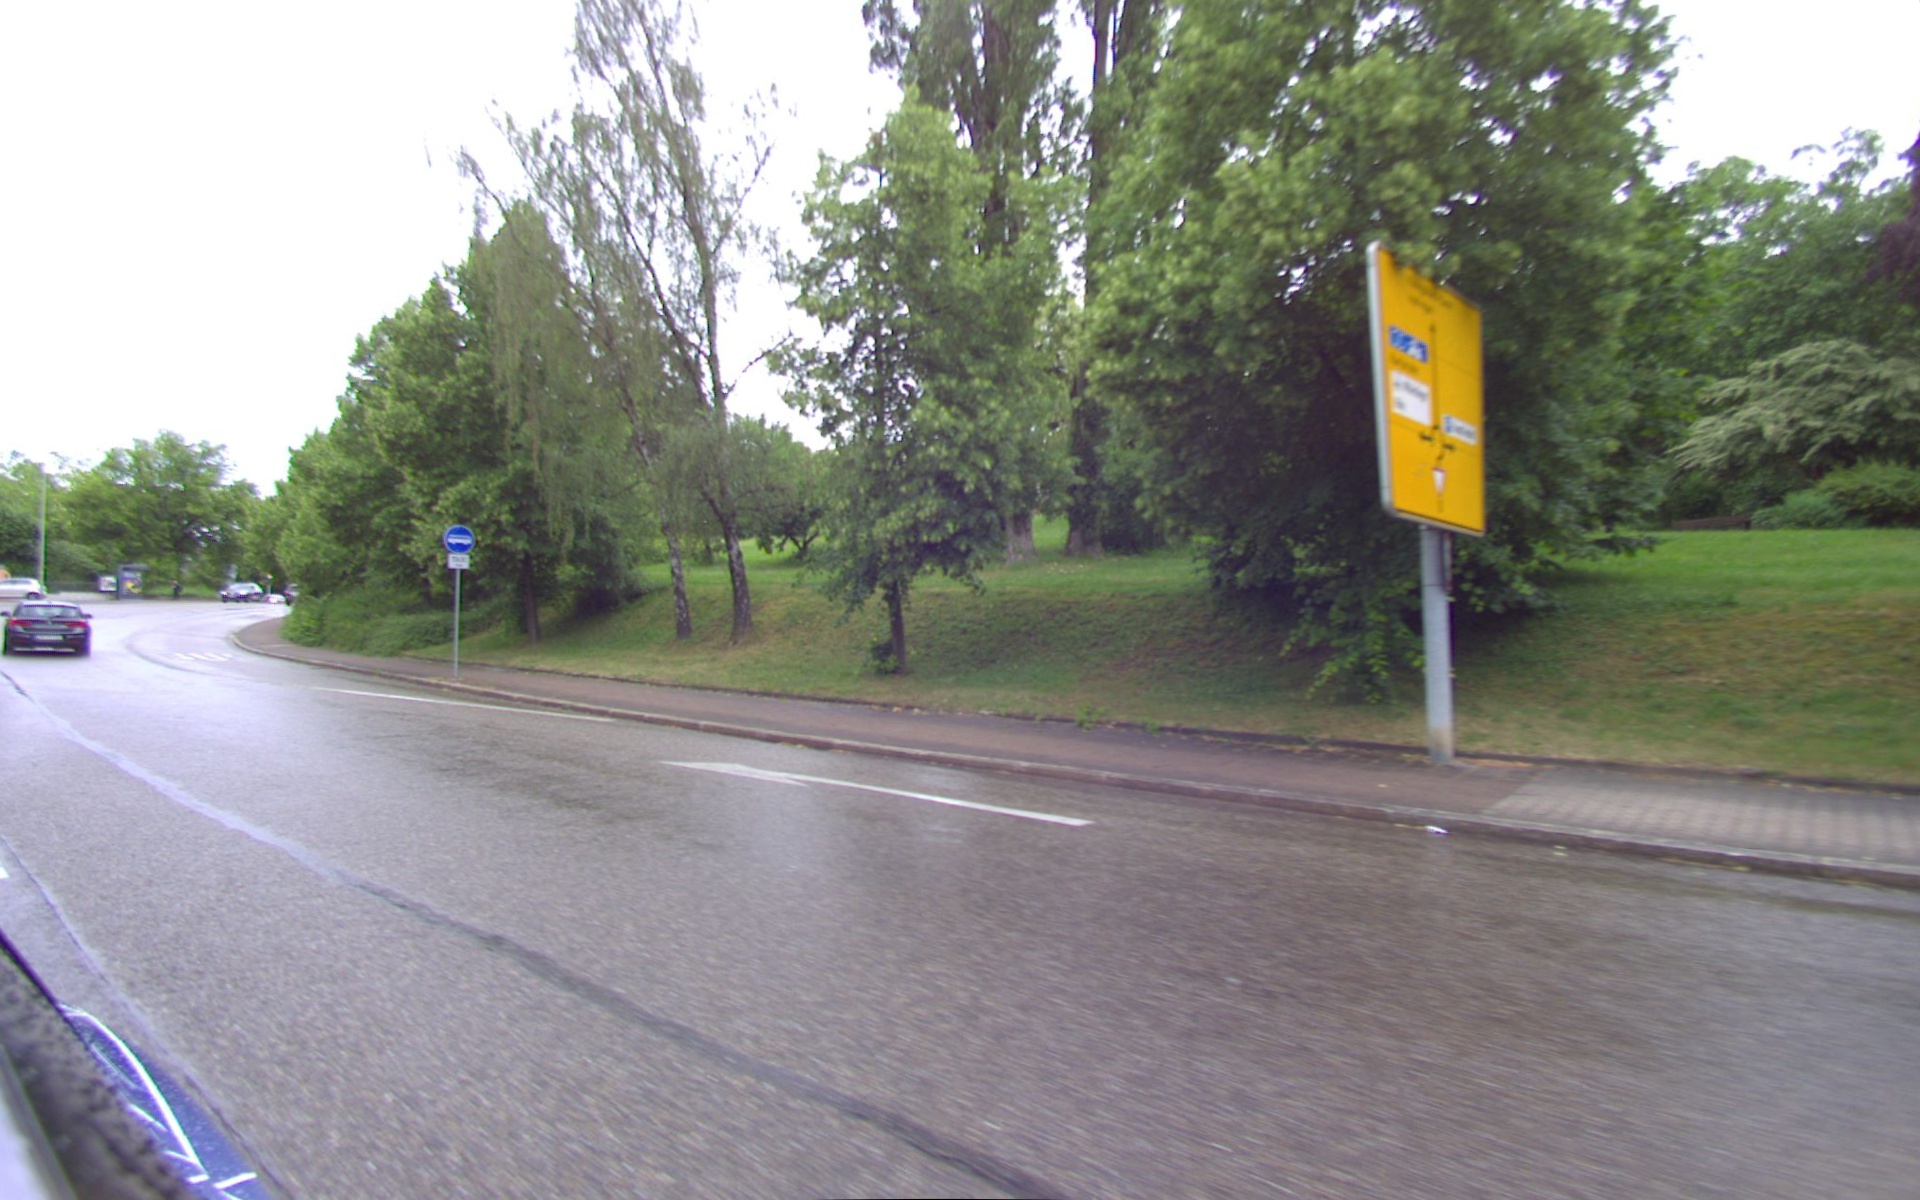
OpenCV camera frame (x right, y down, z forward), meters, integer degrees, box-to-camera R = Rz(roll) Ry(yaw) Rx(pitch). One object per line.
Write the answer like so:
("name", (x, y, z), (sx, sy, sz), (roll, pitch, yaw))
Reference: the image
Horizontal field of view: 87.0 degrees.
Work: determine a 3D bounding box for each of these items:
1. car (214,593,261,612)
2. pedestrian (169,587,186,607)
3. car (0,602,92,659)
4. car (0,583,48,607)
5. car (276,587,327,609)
("car", (-59.744, 0.206, 83.750), (1.831, 1.426, 4.398), (0, -2, -16))
("pedestrian", (-67.285, -0.231, 87.041), (0.912, 1.667, 1.101), (2, -1, -27))
("car", (-24.736, 0.827, 27.264), (1.701, 1.394, 4.142), (4, -4, -44))
("car", (-66.562, -0.389, 70.811), (3.807, 1.578, 1.731), (4, -3, -37))
("car", (-50.724, -0.156, 78.082), (1.786, 1.588, 4.698), (1, 0, -13))
